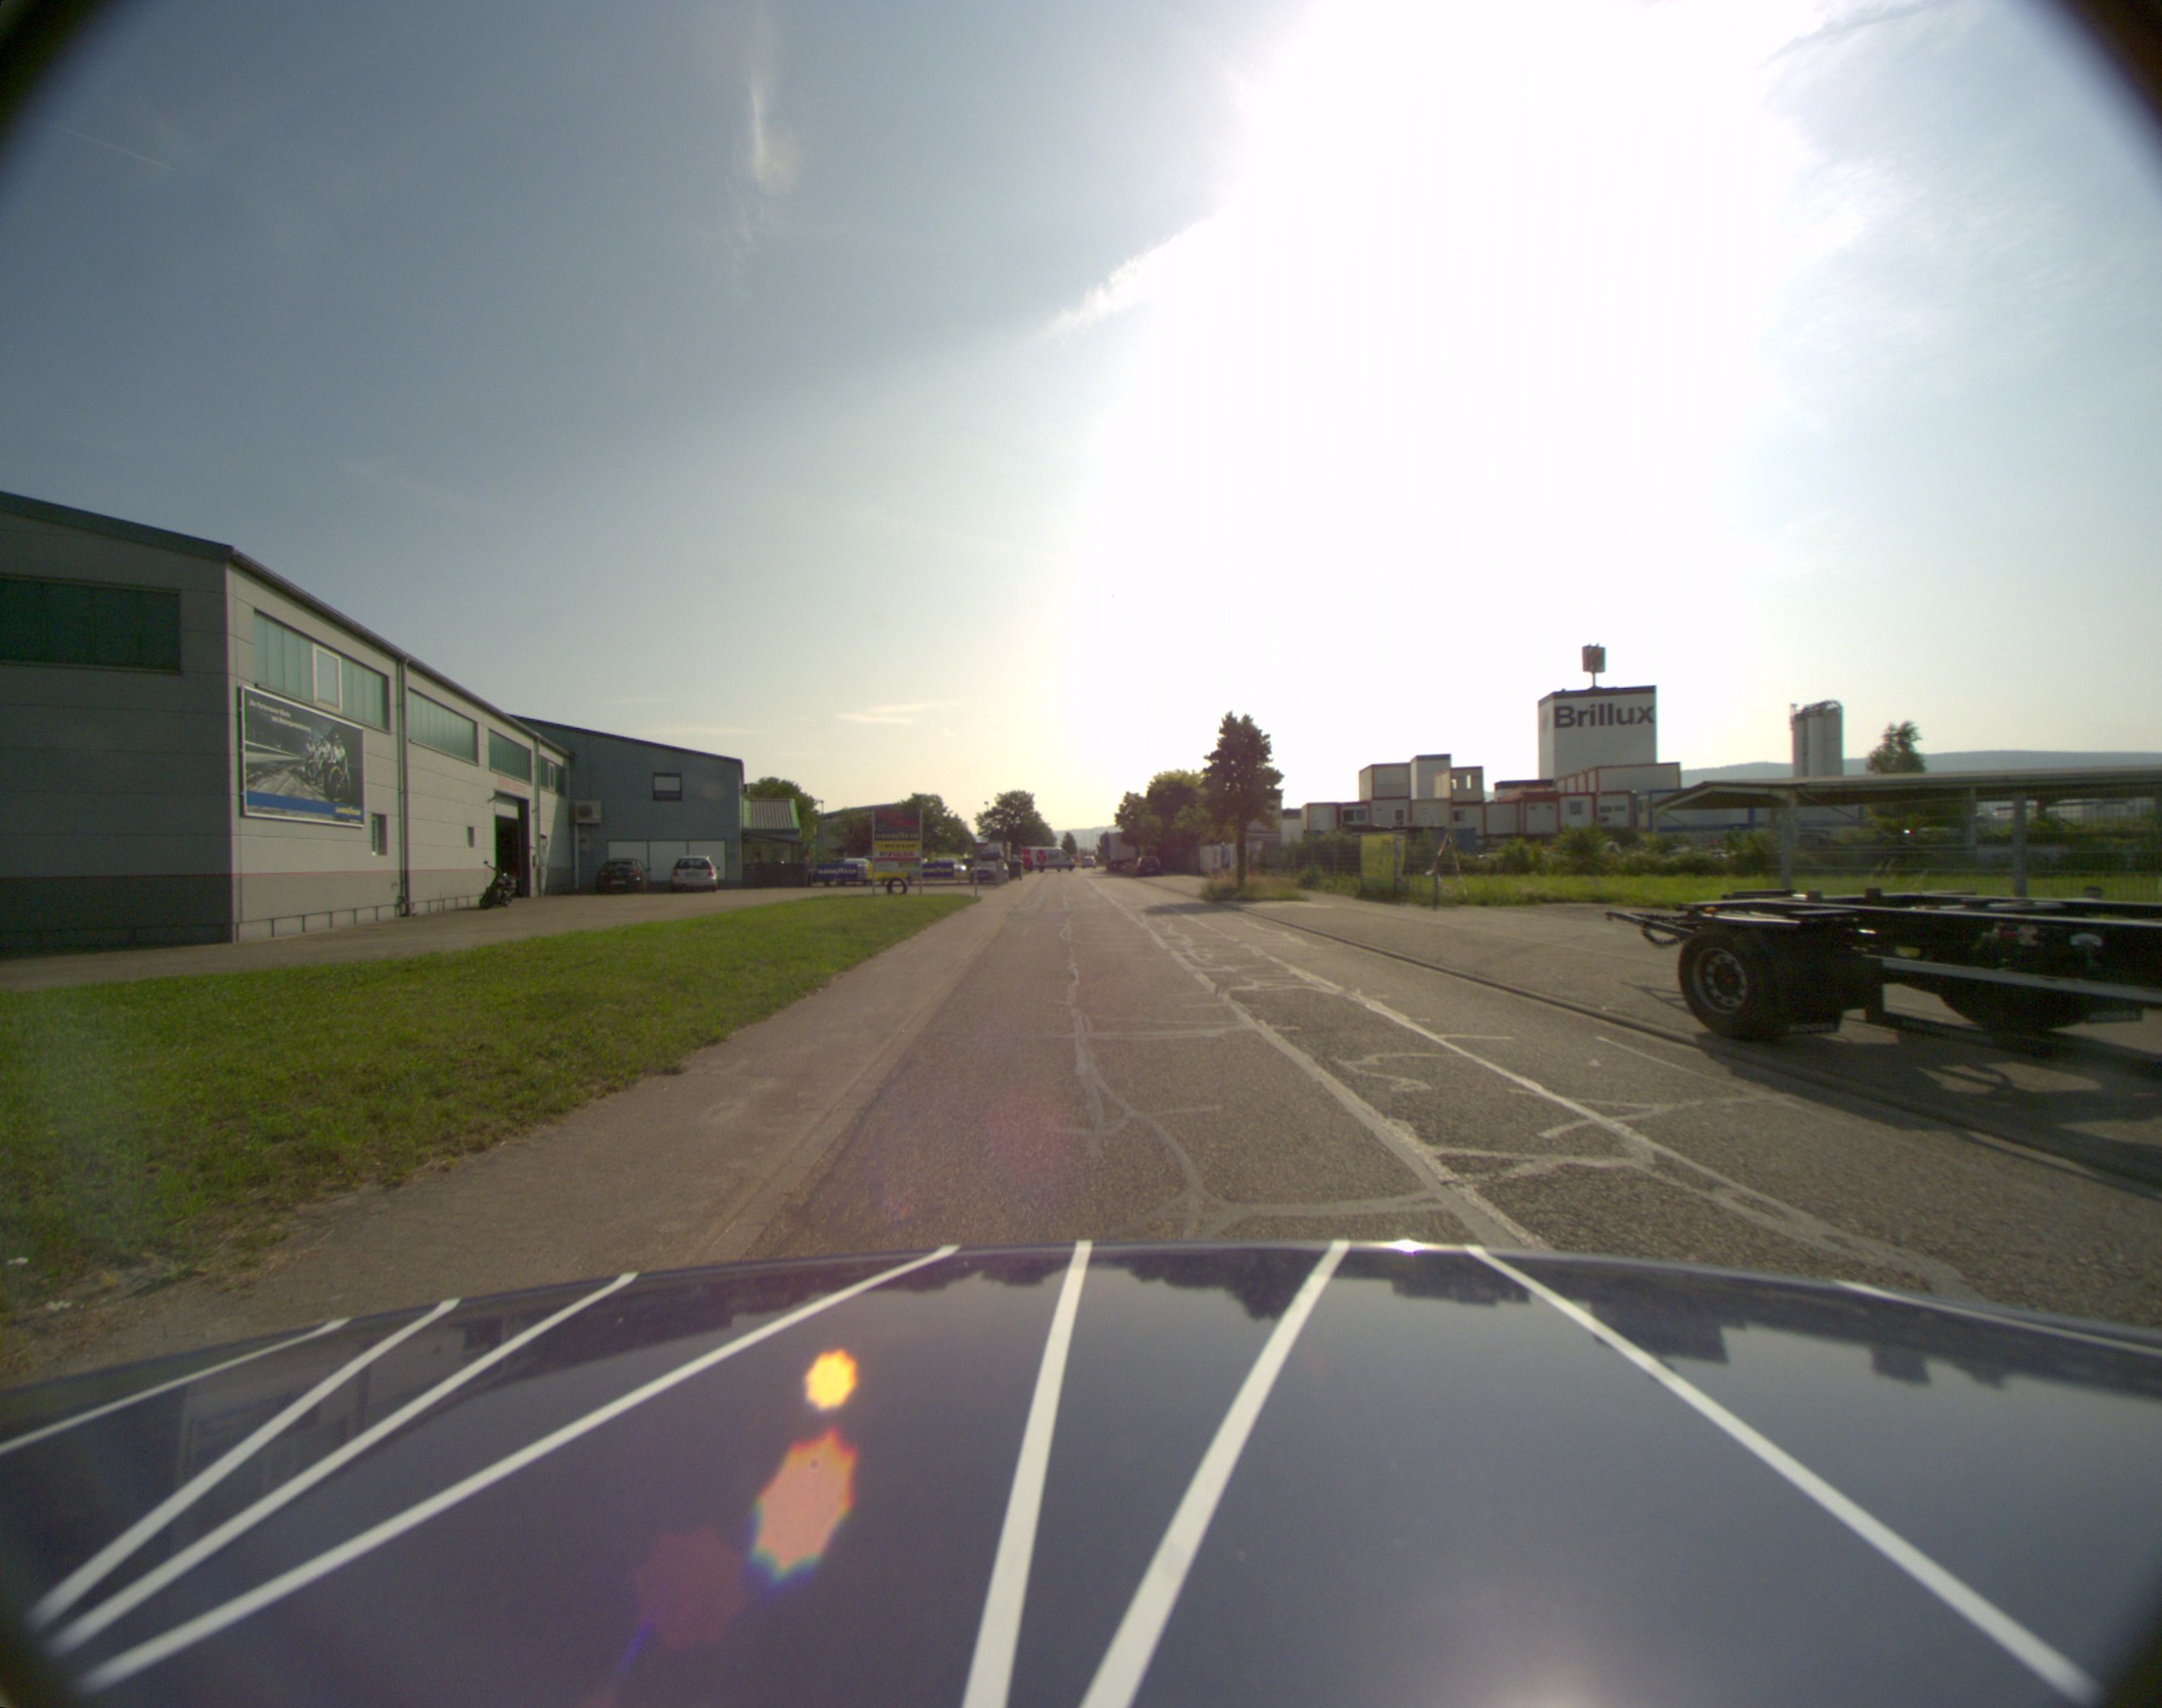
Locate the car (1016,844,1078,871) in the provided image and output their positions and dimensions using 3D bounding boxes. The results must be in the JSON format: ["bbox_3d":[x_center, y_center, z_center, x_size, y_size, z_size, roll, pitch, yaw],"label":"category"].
[{"bbox_3d":[-3.532,0.362,80.658,2.275,2.524,6.758,-2,0,45],"label":"car"}]

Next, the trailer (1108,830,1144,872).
[{"bbox_3d":[4.396,-0.293,76.181,2.707,3.861,9.763,-2,0,-1],"label":"trailer"}]

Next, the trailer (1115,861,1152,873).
[{"bbox_3d":[4.649,1.110,68.179,2.656,0.979,6.241,0,0,-2],"label":"trailer"}]

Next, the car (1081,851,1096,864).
[{"bbox_3d":[1.055,0.478,102.507,1.816,1.617,4.248,0,0,-2],"label":"car"}]

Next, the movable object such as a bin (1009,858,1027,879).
[{"bbox_3d":[-4.246,0.961,51.294,1.083,1.345,1.506,2,0,1],"label":"movable object such as a bin"}]

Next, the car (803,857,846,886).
[{"bbox_3d":[-13.759,0.905,40.566,1.647,1.457,4.451,-1,0,-25],"label":"car"}]

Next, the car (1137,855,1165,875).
[{"bbox_3d":[5.121,0.786,56.140,1.692,1.461,4.093,-1,0,0],"label":"car"}]

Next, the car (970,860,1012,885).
[{"bbox_3d":[-5.193,1.053,44.353,1.677,1.360,4.394,-1,0,3],"label":"car"}]

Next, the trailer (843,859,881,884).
[{"bbox_3d":[-11.759,0.927,40.696,1.496,1.241,2.971,-2,0,-25],"label":"trailer"}]

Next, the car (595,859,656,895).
[{"bbox_3d":[-19.226,0.930,32.225,1.684,1.394,3.704,-1,0,-23],"label":"car"}]

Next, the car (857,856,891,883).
[{"bbox_3d":[-14.090,1.015,51.548,1.646,1.710,3.207,-1,0,-25],"label":"car"}]

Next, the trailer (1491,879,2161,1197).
[{"bbox_3d":[6.275,0.949,4.302,2.589,1.177,9.361,-2,0,-2],"label":"trailer"}]

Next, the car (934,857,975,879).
[{"bbox_3d":[-8.990,0.938,53.747,1.695,1.457,4.253,-1,0,-25],"label":"car"}]

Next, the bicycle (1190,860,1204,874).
[{"bbox_3d":[8.480,0.928,55.814,0.563,0.967,2.452,-1,0,-2],"label":"bicycle"}]

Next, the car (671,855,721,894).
[{"bbox_3d":[-16.875,0.852,33.455,1.641,1.559,3.798,-1,0,-23],"label":"car"}]

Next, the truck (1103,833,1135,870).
[{"bbox_3d":[4.183,-0.283,85.788,2.720,3.861,9.634,-2,0,-1],"label":"truck"}]

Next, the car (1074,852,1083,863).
[{"bbox_3d":[-0.672,0.819,174.149,1.999,2.532,6.989,0,0,-1],"label":"car"}]

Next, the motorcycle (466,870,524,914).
[{"bbox_3d":[-16.164,1.012,21.022,0.804,1.088,2.198,-1,0,-25],"label":"motorcycle"}]
